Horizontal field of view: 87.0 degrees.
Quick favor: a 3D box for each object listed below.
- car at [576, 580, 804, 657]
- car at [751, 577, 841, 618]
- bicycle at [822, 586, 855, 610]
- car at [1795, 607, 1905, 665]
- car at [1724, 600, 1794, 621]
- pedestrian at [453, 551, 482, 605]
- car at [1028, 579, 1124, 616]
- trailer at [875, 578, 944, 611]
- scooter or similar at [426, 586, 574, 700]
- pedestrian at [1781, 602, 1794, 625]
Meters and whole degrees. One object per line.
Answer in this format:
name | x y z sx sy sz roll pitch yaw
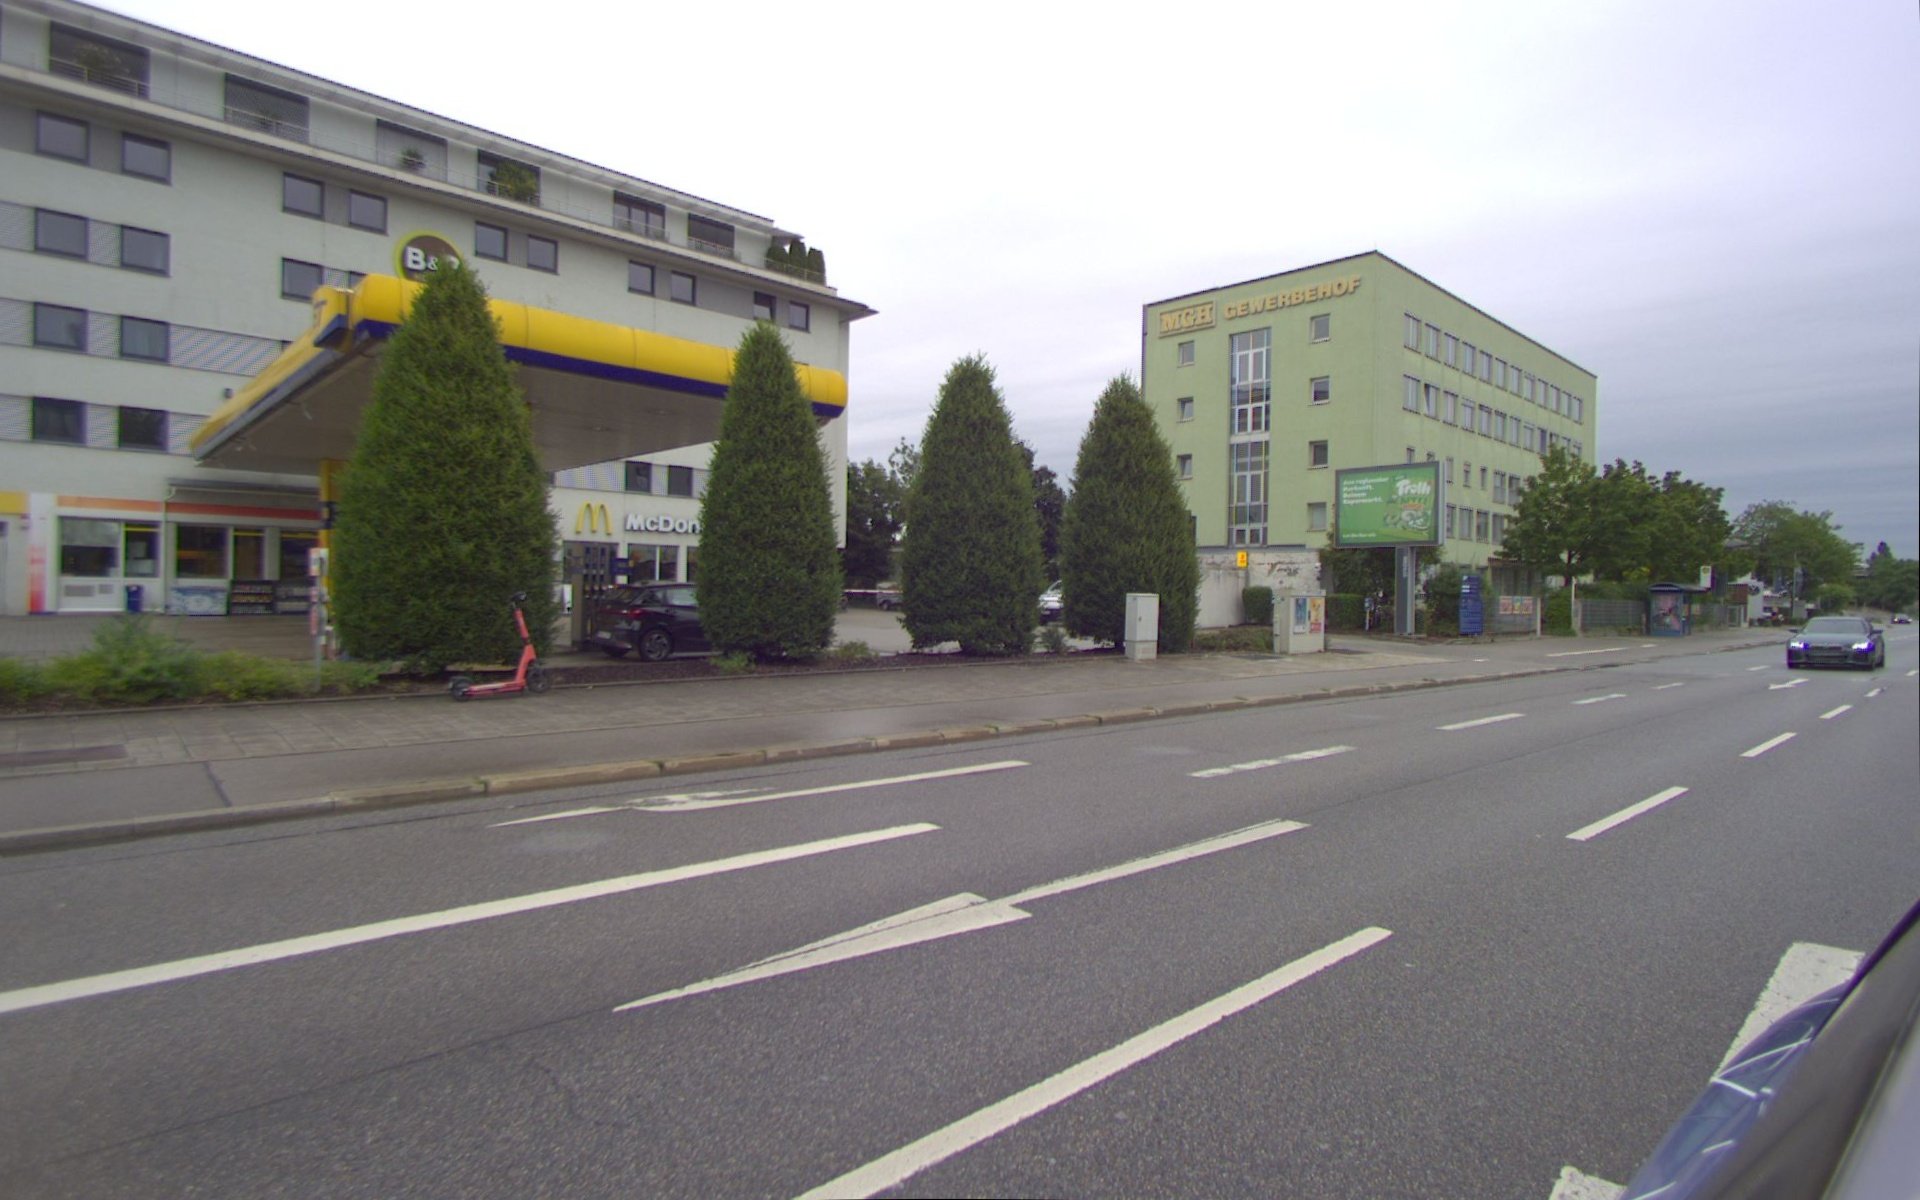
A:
car | -5.171 0.329 19.706 3.935 1.349 1.795 0 0 -45
car | -6.799 -0.141 41.780 1.678 1.607 3.990 1 1 -44
bicycle | -5.865 -0.083 48.936 0.447 1.130 1.850 0 -1 37
car | 25.311 0.953 28.739 4.364 1.526 1.913 0 0 -43
car | 72.195 0.954 91.534 4.596 1.866 1.786 0 -1 25
pedestrian | -16.376 -0.725 33.648 0.706 1.751 0.633 -1 -1 43
car | 4.802 -0.099 41.574 3.933 1.457 1.826 0 0 -44
trailer | -2.756 -0.282 54.386 1.608 1.671 3.800 1 -1 -44
scooter or similar | -5.376 0.481 11.873 1.517 1.258 0.357 0 3 -39
pedestrian | 65.363 1.045 79.941 0.677 1.844 0.681 1 -1 -44
